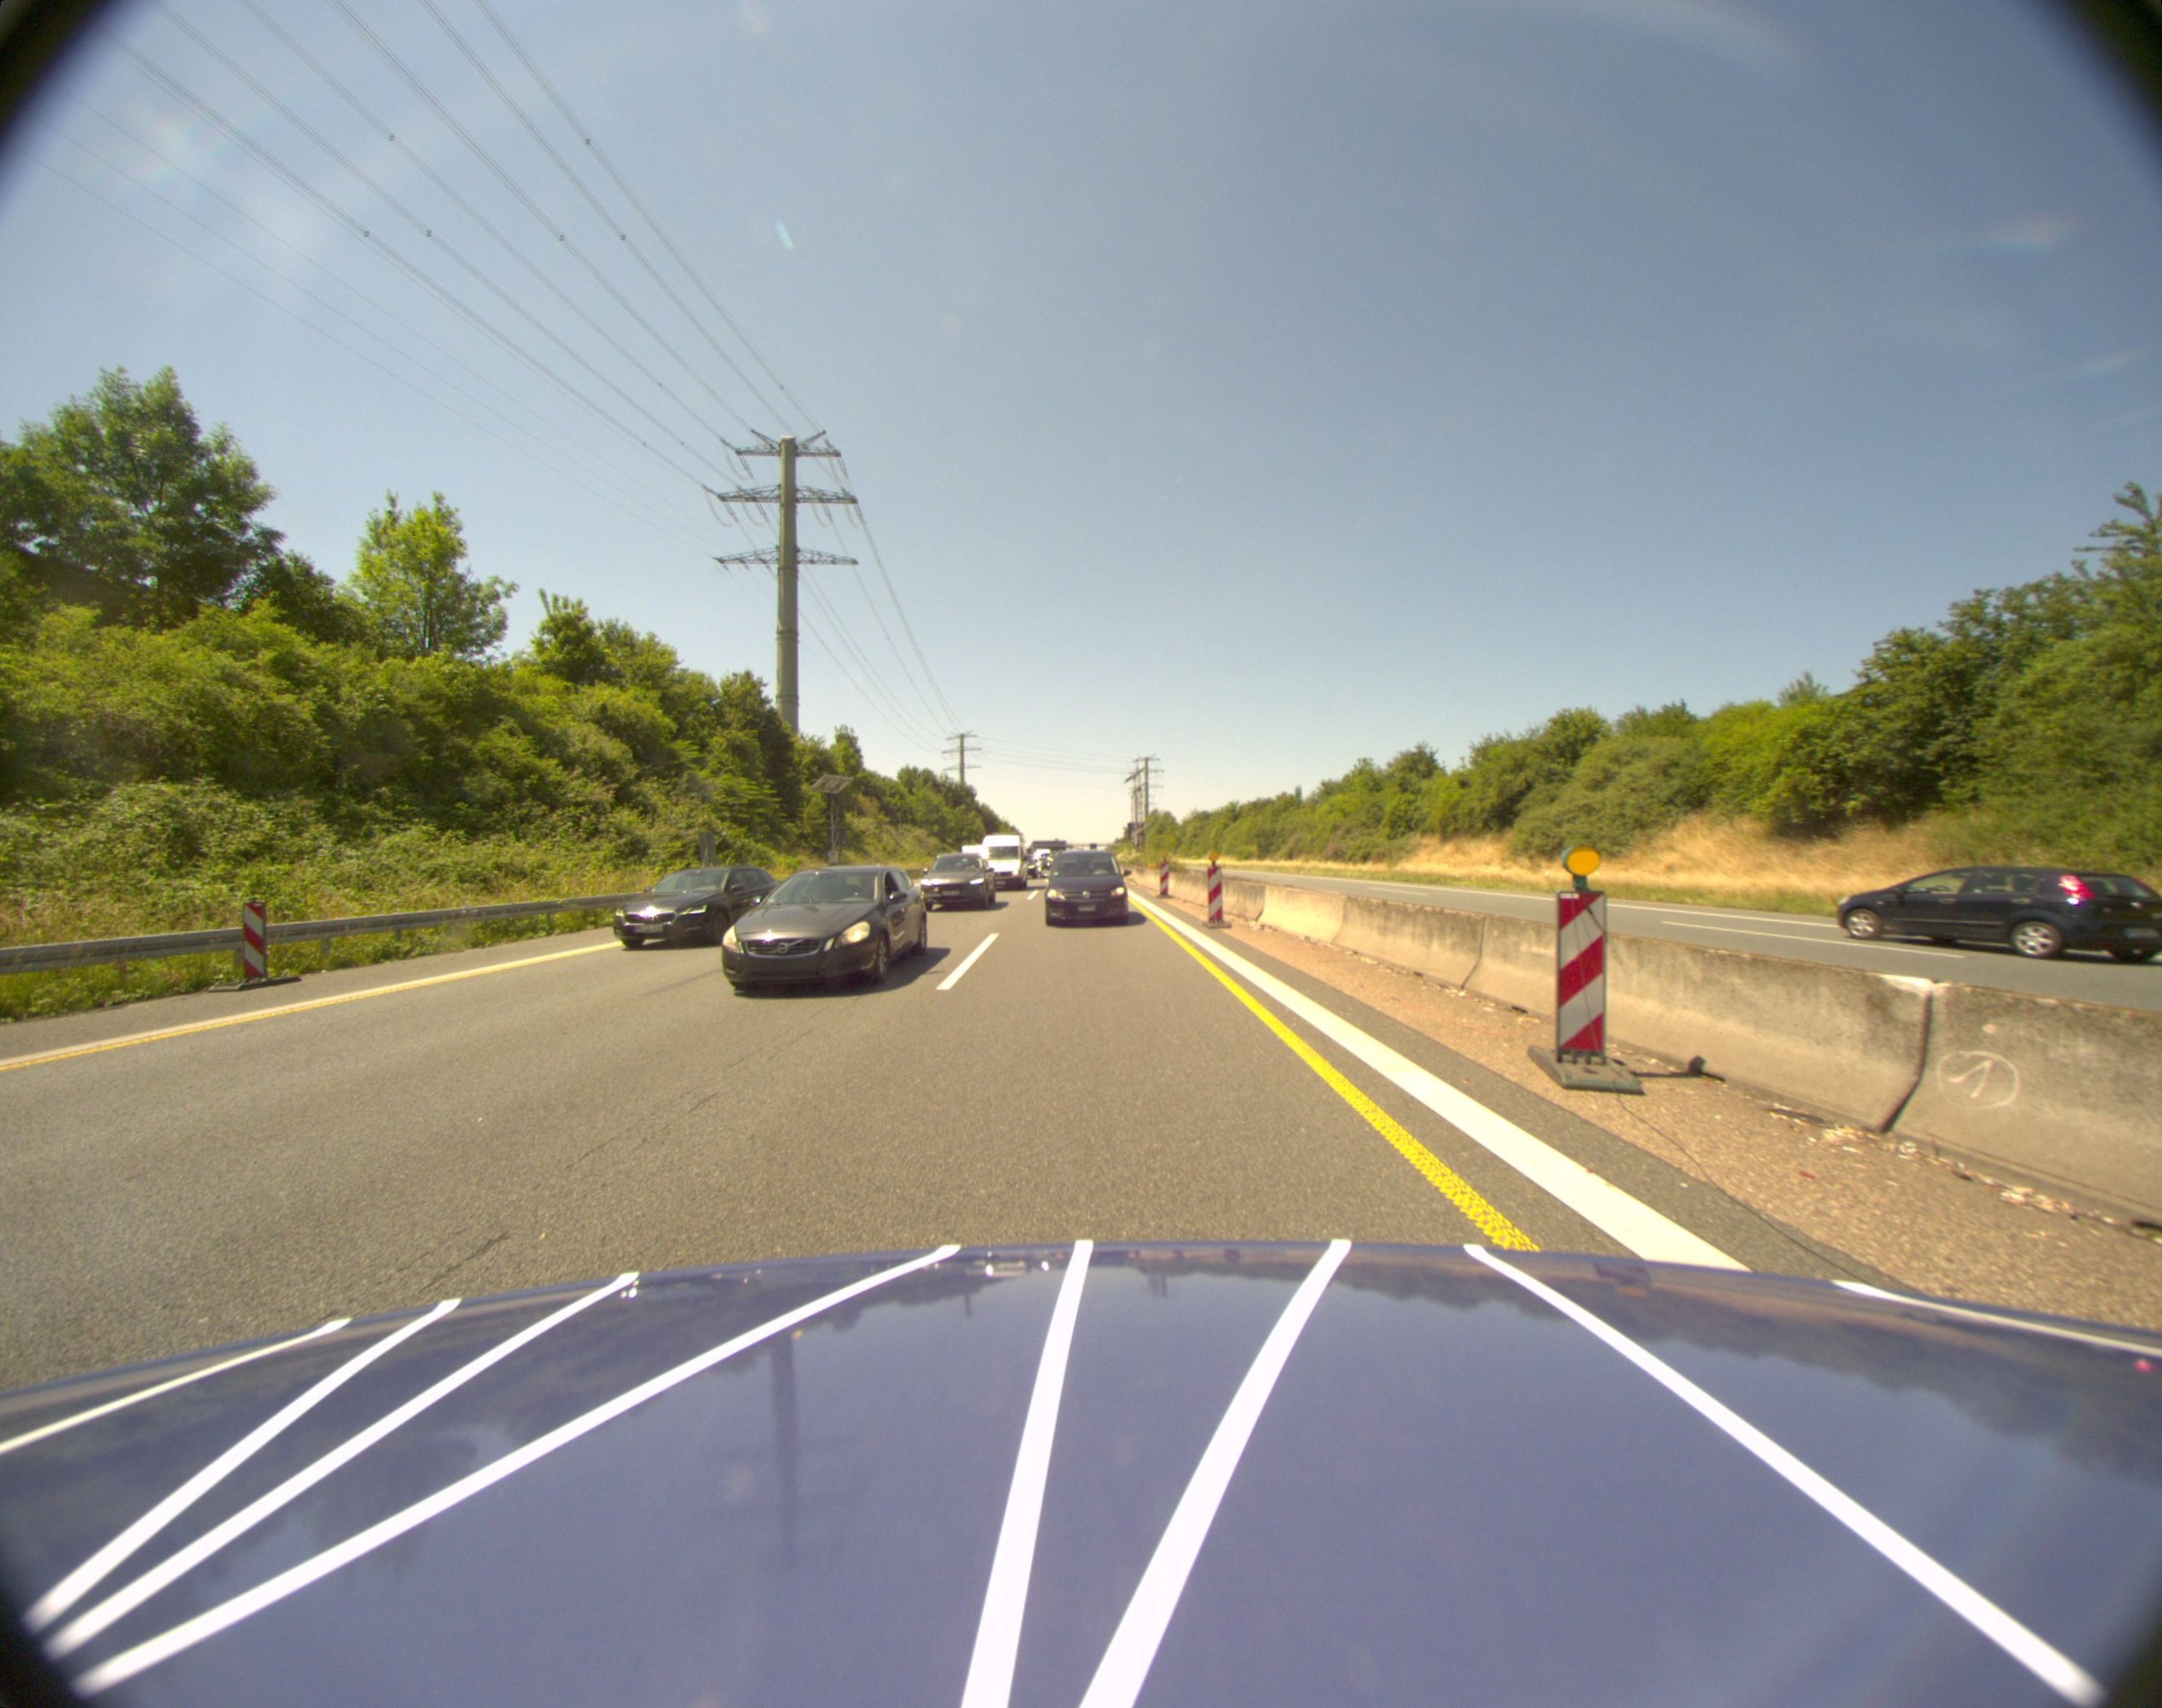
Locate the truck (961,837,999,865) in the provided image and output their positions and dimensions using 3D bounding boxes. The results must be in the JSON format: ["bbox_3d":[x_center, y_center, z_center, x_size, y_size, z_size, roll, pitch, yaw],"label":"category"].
[{"bbox_3d":[-8.353,-0.259,63.398,2.253,2.155,5.728,-2,1,0],"label":"truck"}]

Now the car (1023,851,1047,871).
[{"bbox_3d":[-3.906,0.590,64.752,1.720,1.510,3.873,-2,1,0],"label":"car"}]

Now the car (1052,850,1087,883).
[{"bbox_3d":[-0.604,0.621,40.812,1.700,1.641,4.219,-2,1,0],"label":"car"}]

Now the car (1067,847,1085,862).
[{"bbox_3d":[-0.593,0.042,92.507,1.973,1.682,3.873,-2,1,0],"label":"car"}]

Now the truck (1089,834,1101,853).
[{"bbox_3d":[2.412,-1.846,135.658,1.892,3.264,5.590,-2,1,0],"label":"truck"}]

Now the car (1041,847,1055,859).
[{"bbox_3d":[-4.635,-0.188,105.744,1.720,1.510,3.873,-2,1,0],"label":"car"}]

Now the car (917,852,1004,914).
[{"bbox_3d":[-3.506,0.778,22.864,1.893,1.602,4.219,-2,1,0],"label":"car"}]

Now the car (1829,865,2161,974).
[{"bbox_3d":[15.428,0.973,12.826,1.713,1.456,3.848,1,1,-1],"label":"car"}]

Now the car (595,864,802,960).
[{"bbox_3d":[-7.588,1.048,15.735,1.796,1.503,4.853,-2,1,0],"label":"car"}]

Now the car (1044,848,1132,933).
[{"bbox_3d":[0.125,0.716,17.358,1.700,1.641,4.219,-2,1,0],"label":"car"}]

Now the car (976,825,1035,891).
[{"bbox_3d":[-3.365,0.132,35.236,2.042,2.703,6.704,-2,1,0],"label":"car"}]

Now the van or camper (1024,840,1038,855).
[{"bbox_3d":[-8.594,-1.106,129.941,1.979,2.511,4.369,-2,1,0],"label":"van or camper"}]

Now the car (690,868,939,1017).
[{"bbox_3d":[-3.292,0.990,10.434,1.799,1.411,4.509,-2,1,0],"label":"car"}]

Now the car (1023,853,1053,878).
[{"bbox_3d":[-2.853,0.727,50.820,1.720,1.510,3.873,-2,1,0],"label":"car"}]

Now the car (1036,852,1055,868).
[{"bbox_3d":[-3.787,0.616,80.998,1.720,1.510,3.873,-2,1,0],"label":"car"}]
